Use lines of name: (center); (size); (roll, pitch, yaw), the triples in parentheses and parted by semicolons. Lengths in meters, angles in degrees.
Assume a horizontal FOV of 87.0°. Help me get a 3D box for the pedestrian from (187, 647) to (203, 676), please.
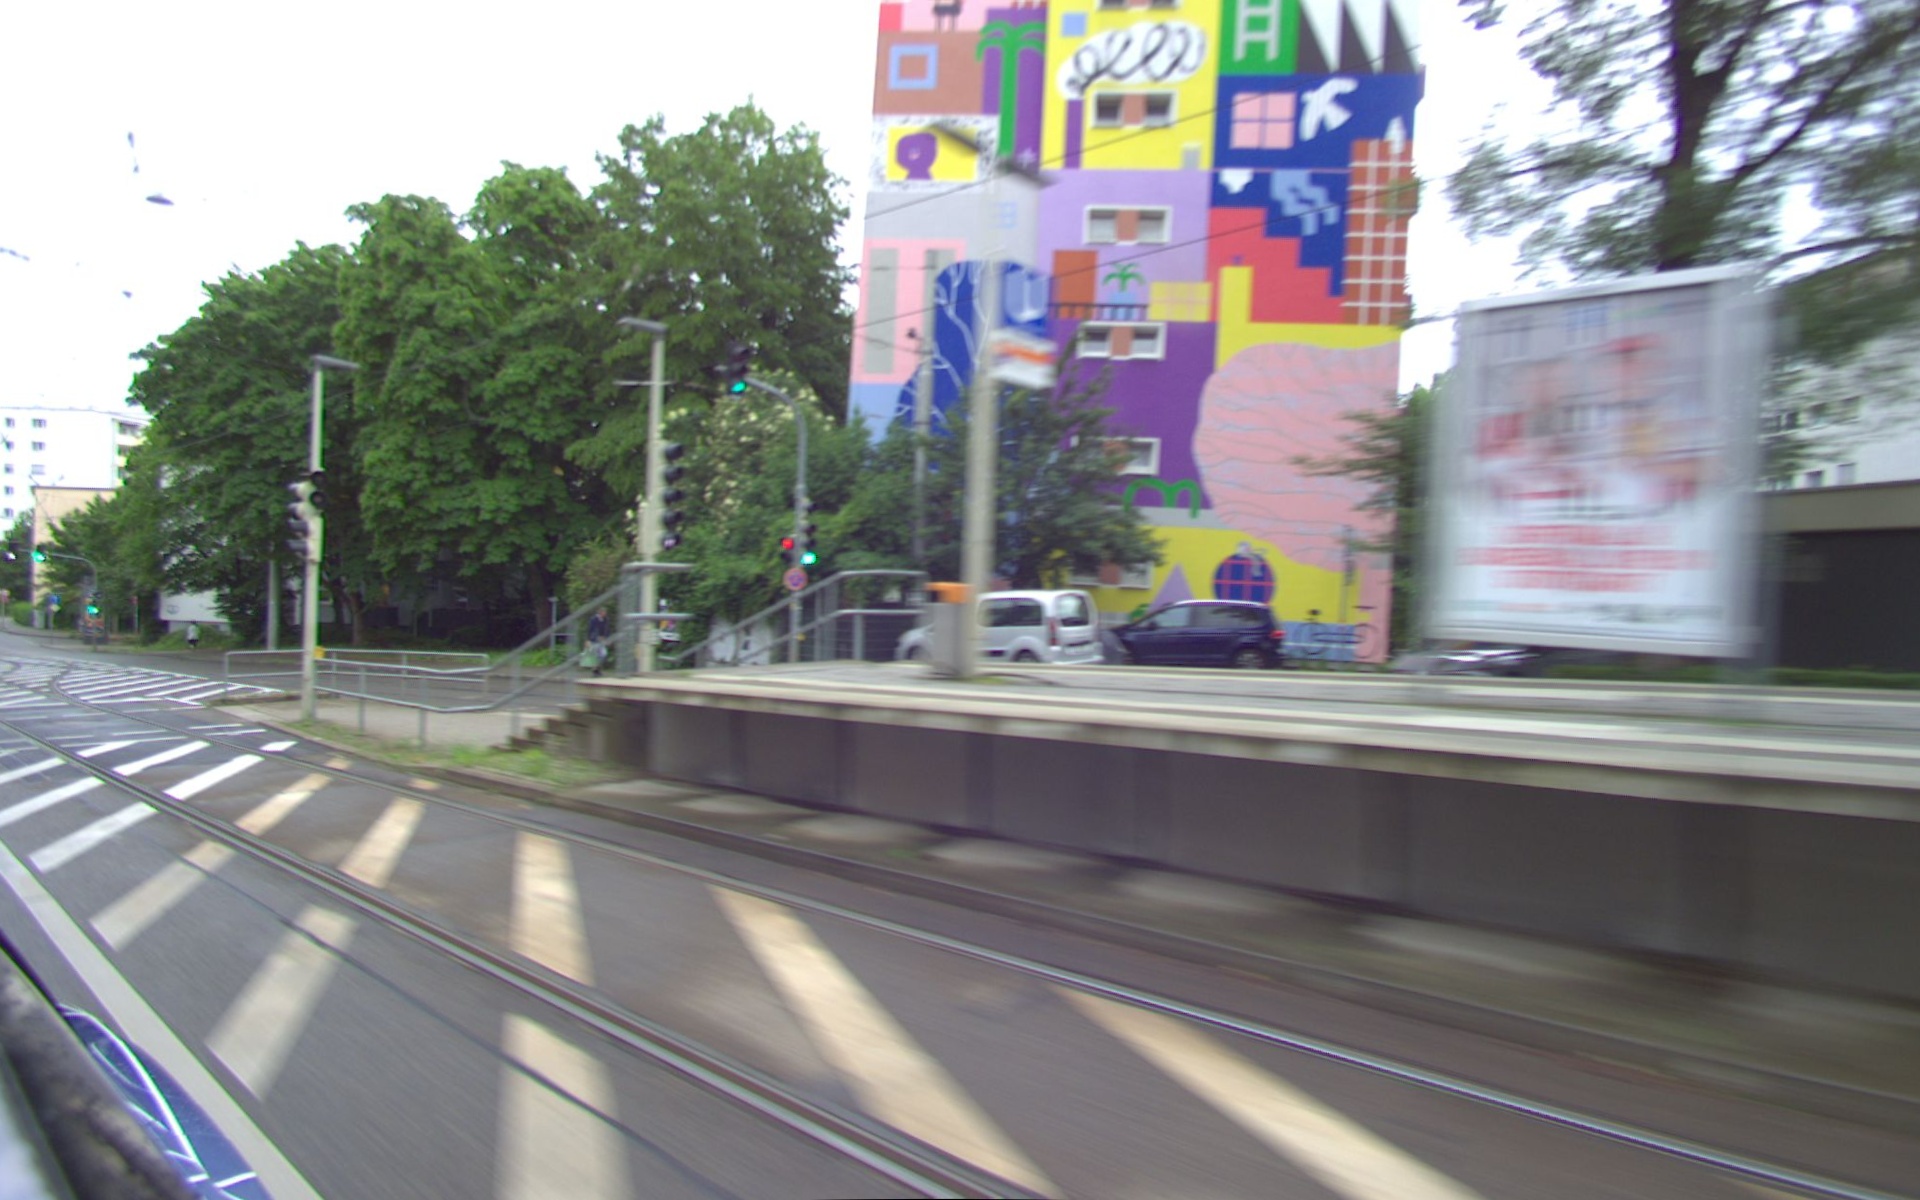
pedestrian: (-39.195, 3.126, 51.831); (0.528, 1.437, 0.522); (-2, 0, 42)

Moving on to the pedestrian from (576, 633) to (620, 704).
pedestrian: (-8.638, 1.619, 24.163); (0.617, 1.605, 0.745); (-2, 0, 42)

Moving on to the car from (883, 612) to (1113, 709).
car: (0.665, 1.134, 20.131); (4.437, 1.730, 1.729); (-2, -2, 39)

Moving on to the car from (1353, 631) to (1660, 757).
car: (8.205, 1.285, 15.123); (4.416, 1.554, 1.951); (0, -1, -29)

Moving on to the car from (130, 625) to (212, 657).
car: (-49.247, 2.512, 63.247); (3.936, 1.763, 2.004); (-2, 1, -38)

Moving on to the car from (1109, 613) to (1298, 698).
car: (5.352, 1.185, 22.615); (3.912, 1.650, 1.705); (2, 0, 11)
